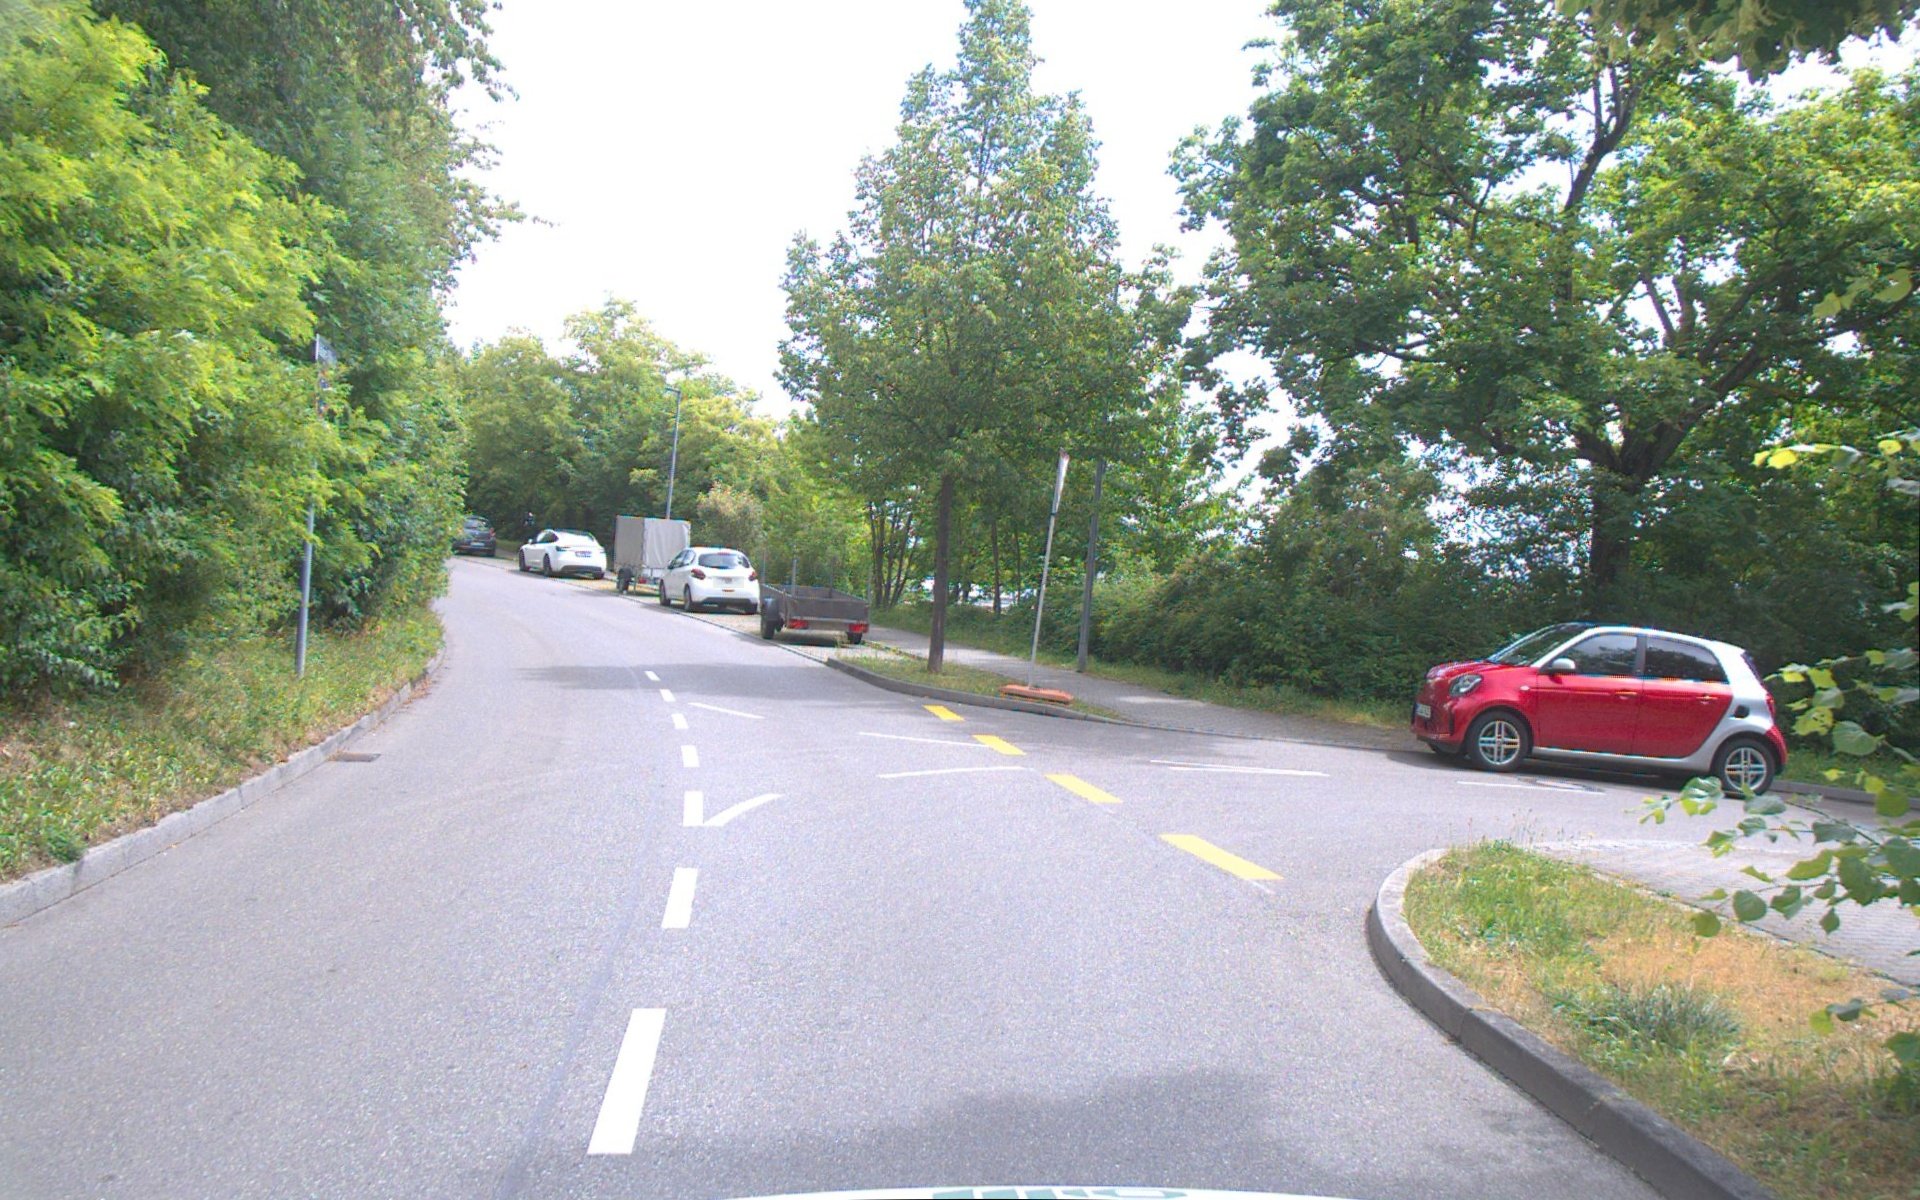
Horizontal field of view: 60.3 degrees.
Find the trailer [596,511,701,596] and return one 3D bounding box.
[{"bbox_3d":[-8.637,-1.312,45.630,1.720,2.147,3.965,2,3,-28],"label":"trailer"}]

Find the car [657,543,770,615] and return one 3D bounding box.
[{"bbox_3d":[-5.980,-0.543,39.745,1.744,1.435,3.975,3,3,-22],"label":"car"}]

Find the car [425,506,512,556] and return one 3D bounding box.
[{"bbox_3d":[-18.720,-2.650,62.871,1.871,1.716,4.299,-1,4,-36],"label":"car"}]

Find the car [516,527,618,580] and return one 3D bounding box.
[{"bbox_3d":[-12.576,-1.497,52.734,1.868,1.399,4.306,3,2,-32],"label":"car"}]

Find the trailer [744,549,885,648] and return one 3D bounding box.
[{"bbox_3d":[-2.796,-0.078,31.049,1.756,1.552,3.982,3,2,-18],"label":"trailer"}]

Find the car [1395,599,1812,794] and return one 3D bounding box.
[{"bbox_3d":[6.448,0.930,16.884,3.464,1.506,1.782,6,1,1],"label":"car"}]
